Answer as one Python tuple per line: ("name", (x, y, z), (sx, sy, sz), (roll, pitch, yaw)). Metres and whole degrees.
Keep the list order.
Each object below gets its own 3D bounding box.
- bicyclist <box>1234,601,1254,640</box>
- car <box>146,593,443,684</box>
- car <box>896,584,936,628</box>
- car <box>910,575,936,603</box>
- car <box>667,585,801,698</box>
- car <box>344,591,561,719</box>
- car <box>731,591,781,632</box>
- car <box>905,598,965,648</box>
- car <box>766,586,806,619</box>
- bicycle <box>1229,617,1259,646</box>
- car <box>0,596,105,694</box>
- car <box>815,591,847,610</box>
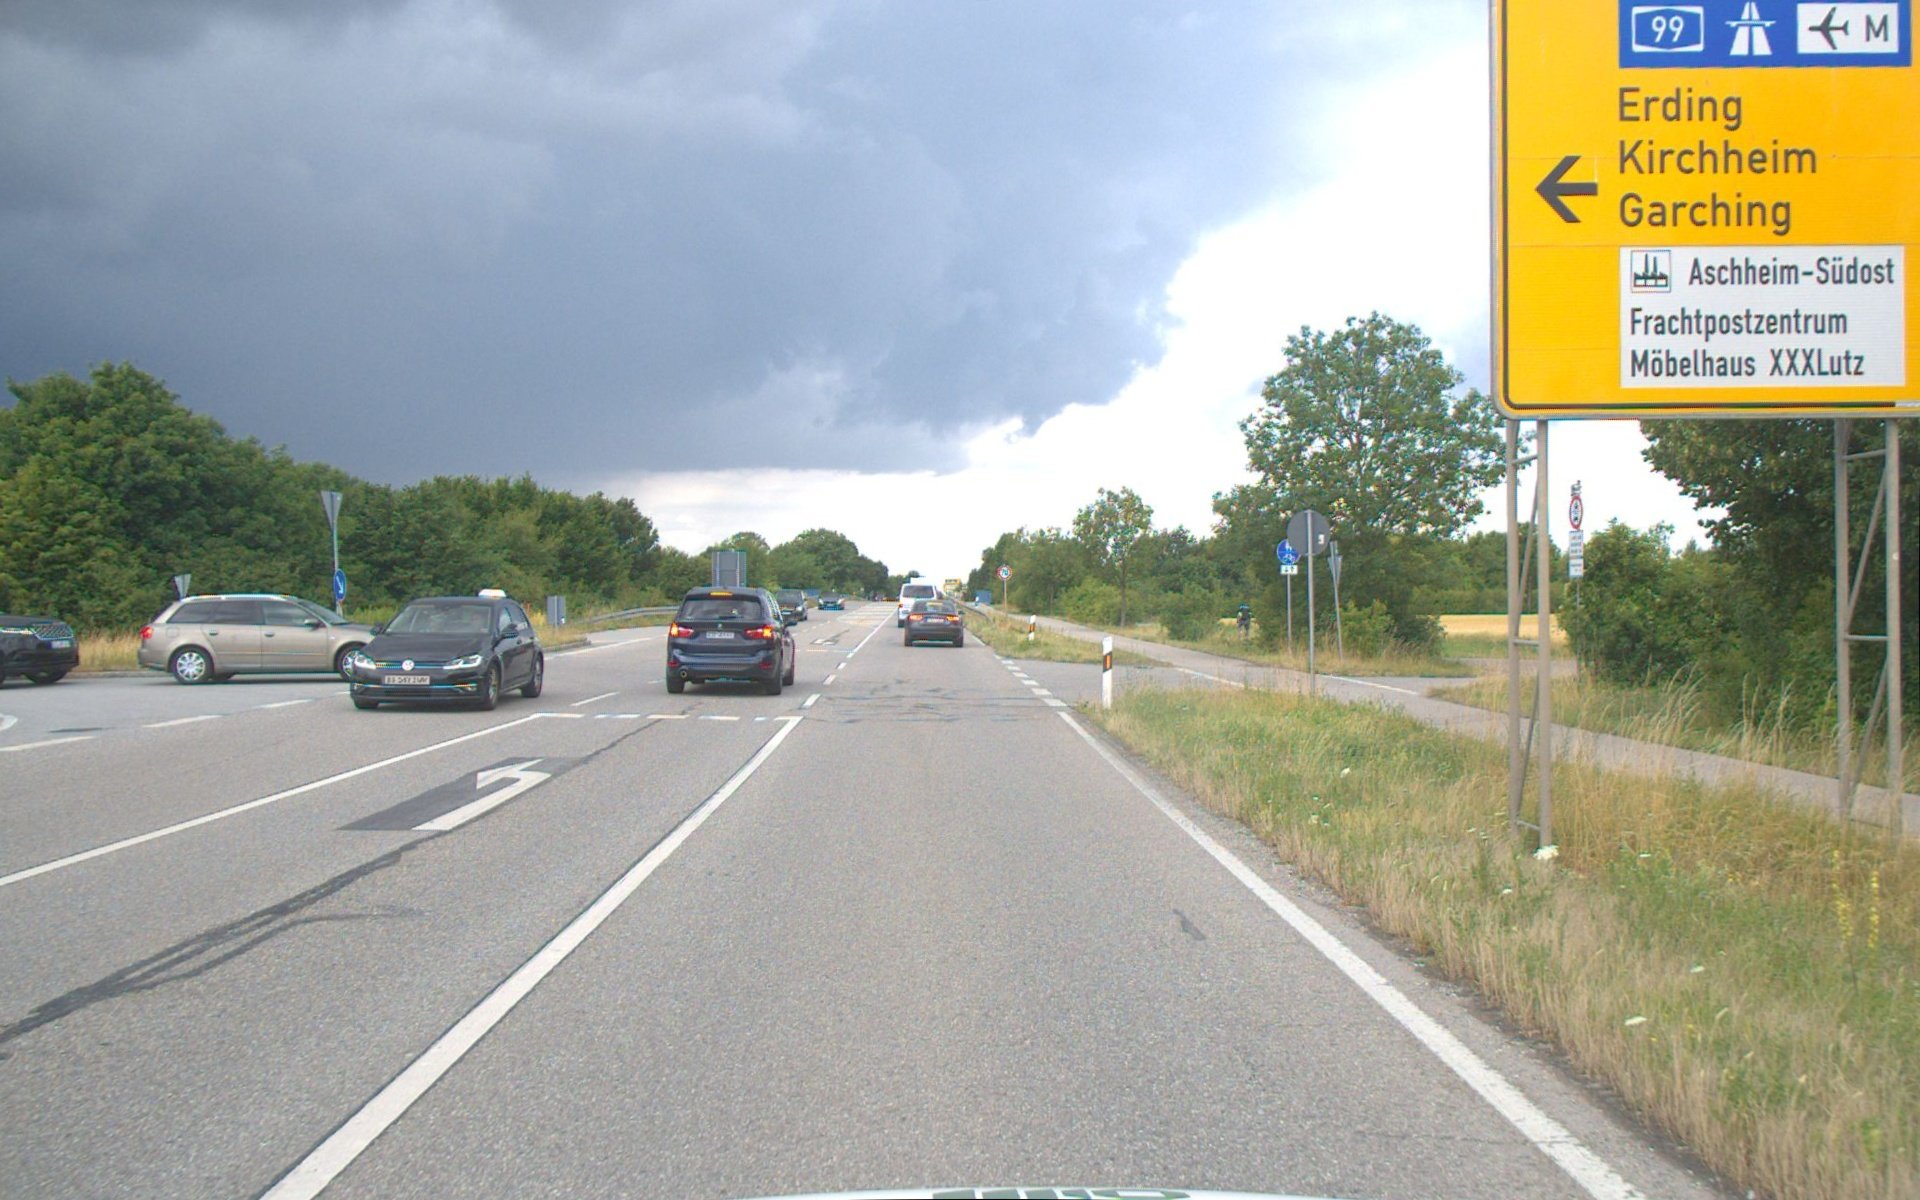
("bicyclist", (11.691, 0.842, 68.076), (0.643, 1.608, 0.743), (1, -1, -2))
("car", (-11.269, 0.625, 28.299), (4.368, 1.449, 1.907), (-1, 0, -9))
("car", (-1.994, 0.280, 75.466), (1.749, 1.923, 3.999), (1, 0, -2))
("car", (-3.437, -1.025, 154.656), (2.398, 2.548, 5.040), (1, 0, -1))
("car", (-3.572, 0.613, 26.844), (1.668, 1.639, 4.480), (1, 0, -2))
("car", (-6.764, 0.682, 22.518), (1.645, 1.548, 4.395), (1, 0, -1))
("car", (-7.805, 0.420, 63.441), (1.628, 1.509, 3.167), (1, 0, -2))
("car", (-0.798, 0.697, 50.932), (1.749, 1.448, 3.999), (1, 0, -2))
("car", (-8.883, 0.106, 84.616), (1.707, 1.557, 4.197), (1, 1, -2))
("bicycle", (11.684, 1.275, 68.086), (0.643, 1.158, 2.829), (1, -1, -2))
("car", (-17.076, 0.745, 27.611), (4.639, 1.558, 1.912), (-1, 0, 5))
("car", (-9.781, 0.037, 125.689), (2.121, 1.307, 4.236), (2, 0, -2))
